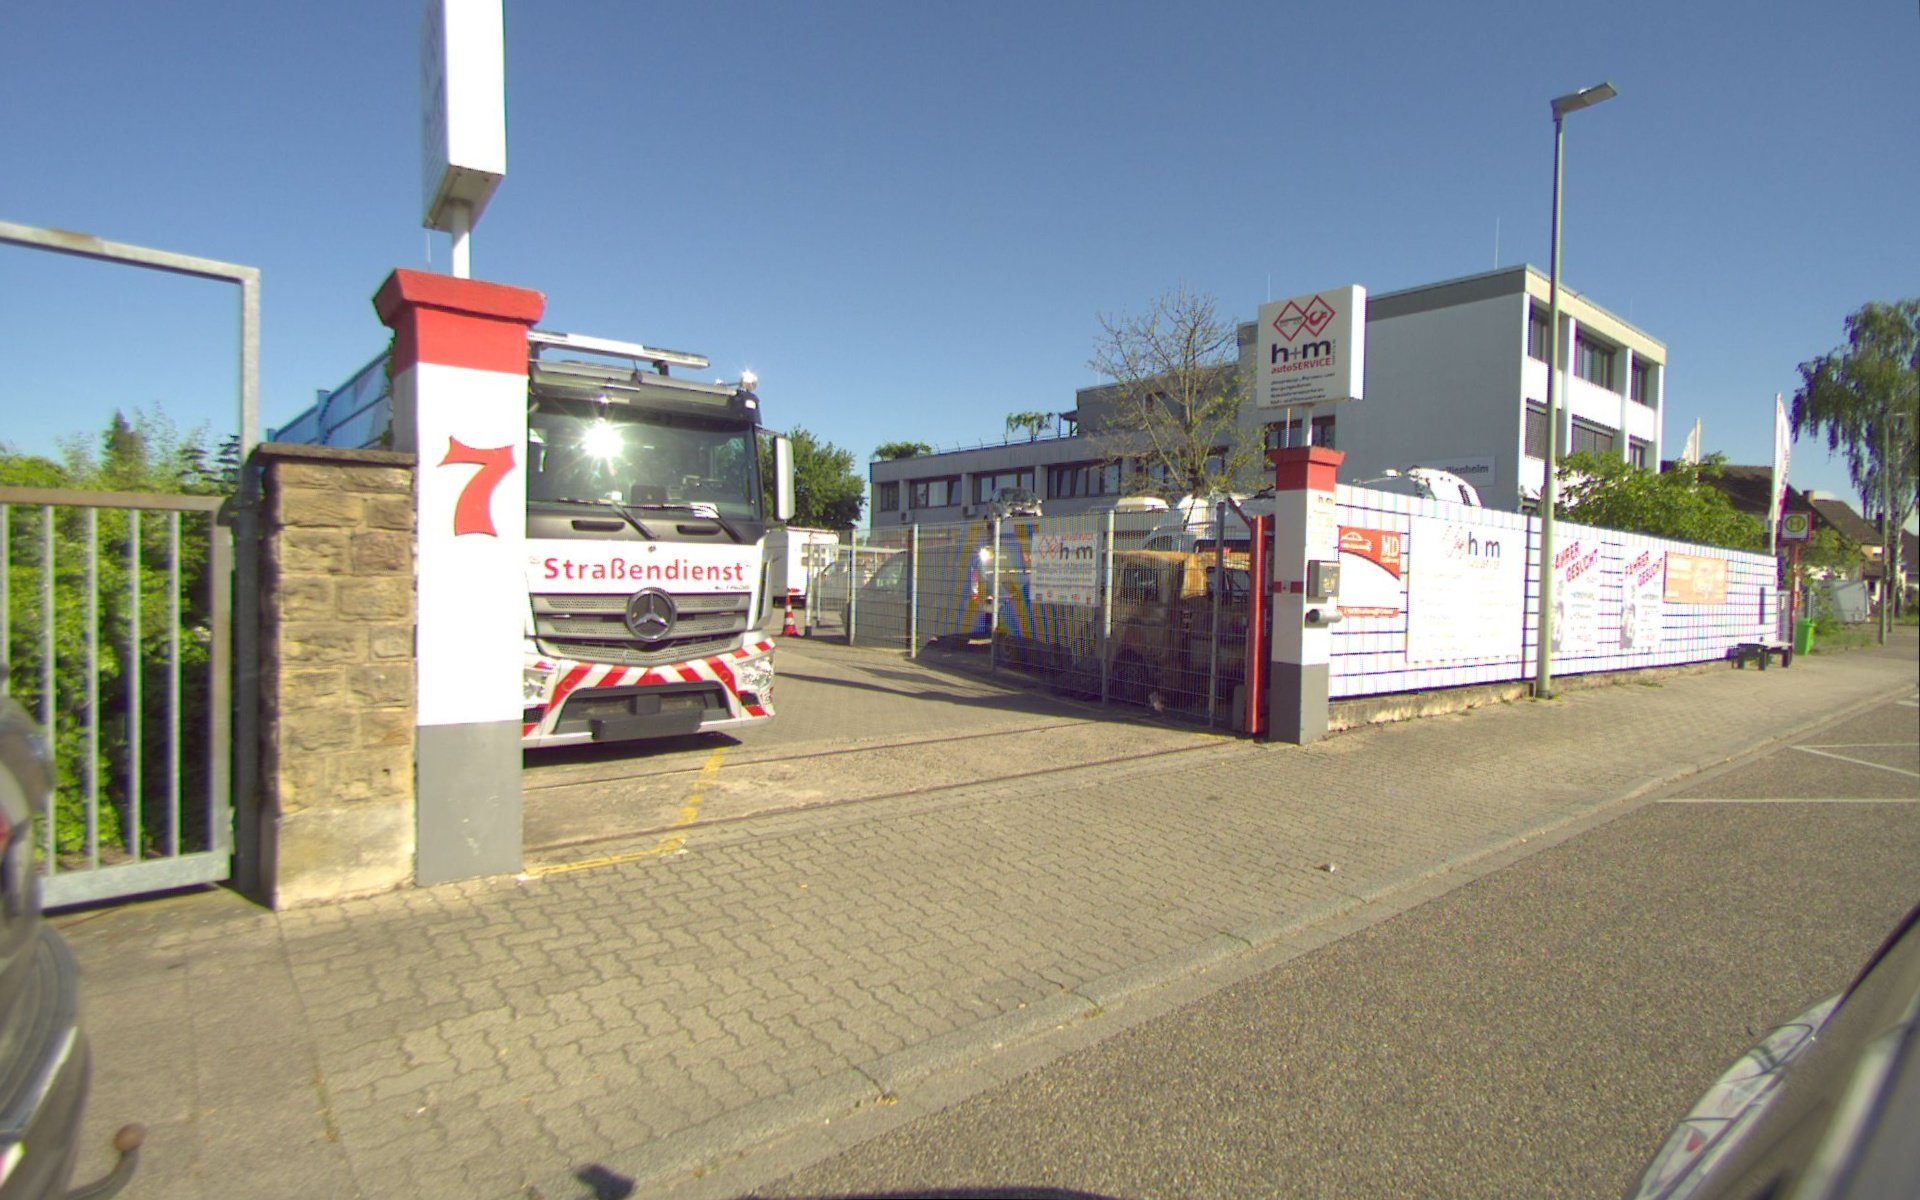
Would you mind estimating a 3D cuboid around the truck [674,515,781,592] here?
[{"bbox_3d":[-12.064,-2.288,52.209,2.694,3.650,6.375,-1,0,-41],"label":"truck"}]

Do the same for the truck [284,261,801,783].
[{"bbox_3d":[-5.263,-0.735,10.838,2.375,3.234,9.801,1,3,-39],"label":"truck"}]

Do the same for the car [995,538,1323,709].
[{"bbox_3d":[2.307,0.138,13.048,1.935,1.763,4.316,0,3,-25],"label":"car"}]

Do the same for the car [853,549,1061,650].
[{"bbox_3d":[-0.197,-0.067,18.369,1.878,1.593,4.330,0,1,-30],"label":"car"}]

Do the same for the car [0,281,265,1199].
[{"bbox_3d":[-3.237,0.574,0.320,4.827,1.765,1.804,-1,0,-41],"label":"car"}]

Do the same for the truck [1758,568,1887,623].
[{"bbox_3d":[42.354,-0.271,49.832,4.344,2.496,1.982,2,1,26],"label":"truck"}]

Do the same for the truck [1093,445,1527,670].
[{"bbox_3d":[5.148,-0.649,16.024,2.336,2.851,6.244,0,2,-36],"label":"truck"}]

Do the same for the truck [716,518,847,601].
[{"bbox_3d":[-7.305,-1.542,40.855,2.692,3.090,6.010,-1,0,-38],"label":"truck"}]

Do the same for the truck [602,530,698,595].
[{"bbox_3d":[-15.933,-1.827,51.716,2.692,3.090,6.010,-1,0,-38],"label":"truck"}]

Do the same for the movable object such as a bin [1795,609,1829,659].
[{"bbox_3d":[17.109,0.668,20.325,0.556,0.968,0.383,0,1,-37],"label":"movable object such as a bin"}]

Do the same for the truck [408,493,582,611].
[{"bbox_3d":[-13.267,-1.298,28.511,2.563,2.902,7.162,1,2,-41],"label":"truck"}]
